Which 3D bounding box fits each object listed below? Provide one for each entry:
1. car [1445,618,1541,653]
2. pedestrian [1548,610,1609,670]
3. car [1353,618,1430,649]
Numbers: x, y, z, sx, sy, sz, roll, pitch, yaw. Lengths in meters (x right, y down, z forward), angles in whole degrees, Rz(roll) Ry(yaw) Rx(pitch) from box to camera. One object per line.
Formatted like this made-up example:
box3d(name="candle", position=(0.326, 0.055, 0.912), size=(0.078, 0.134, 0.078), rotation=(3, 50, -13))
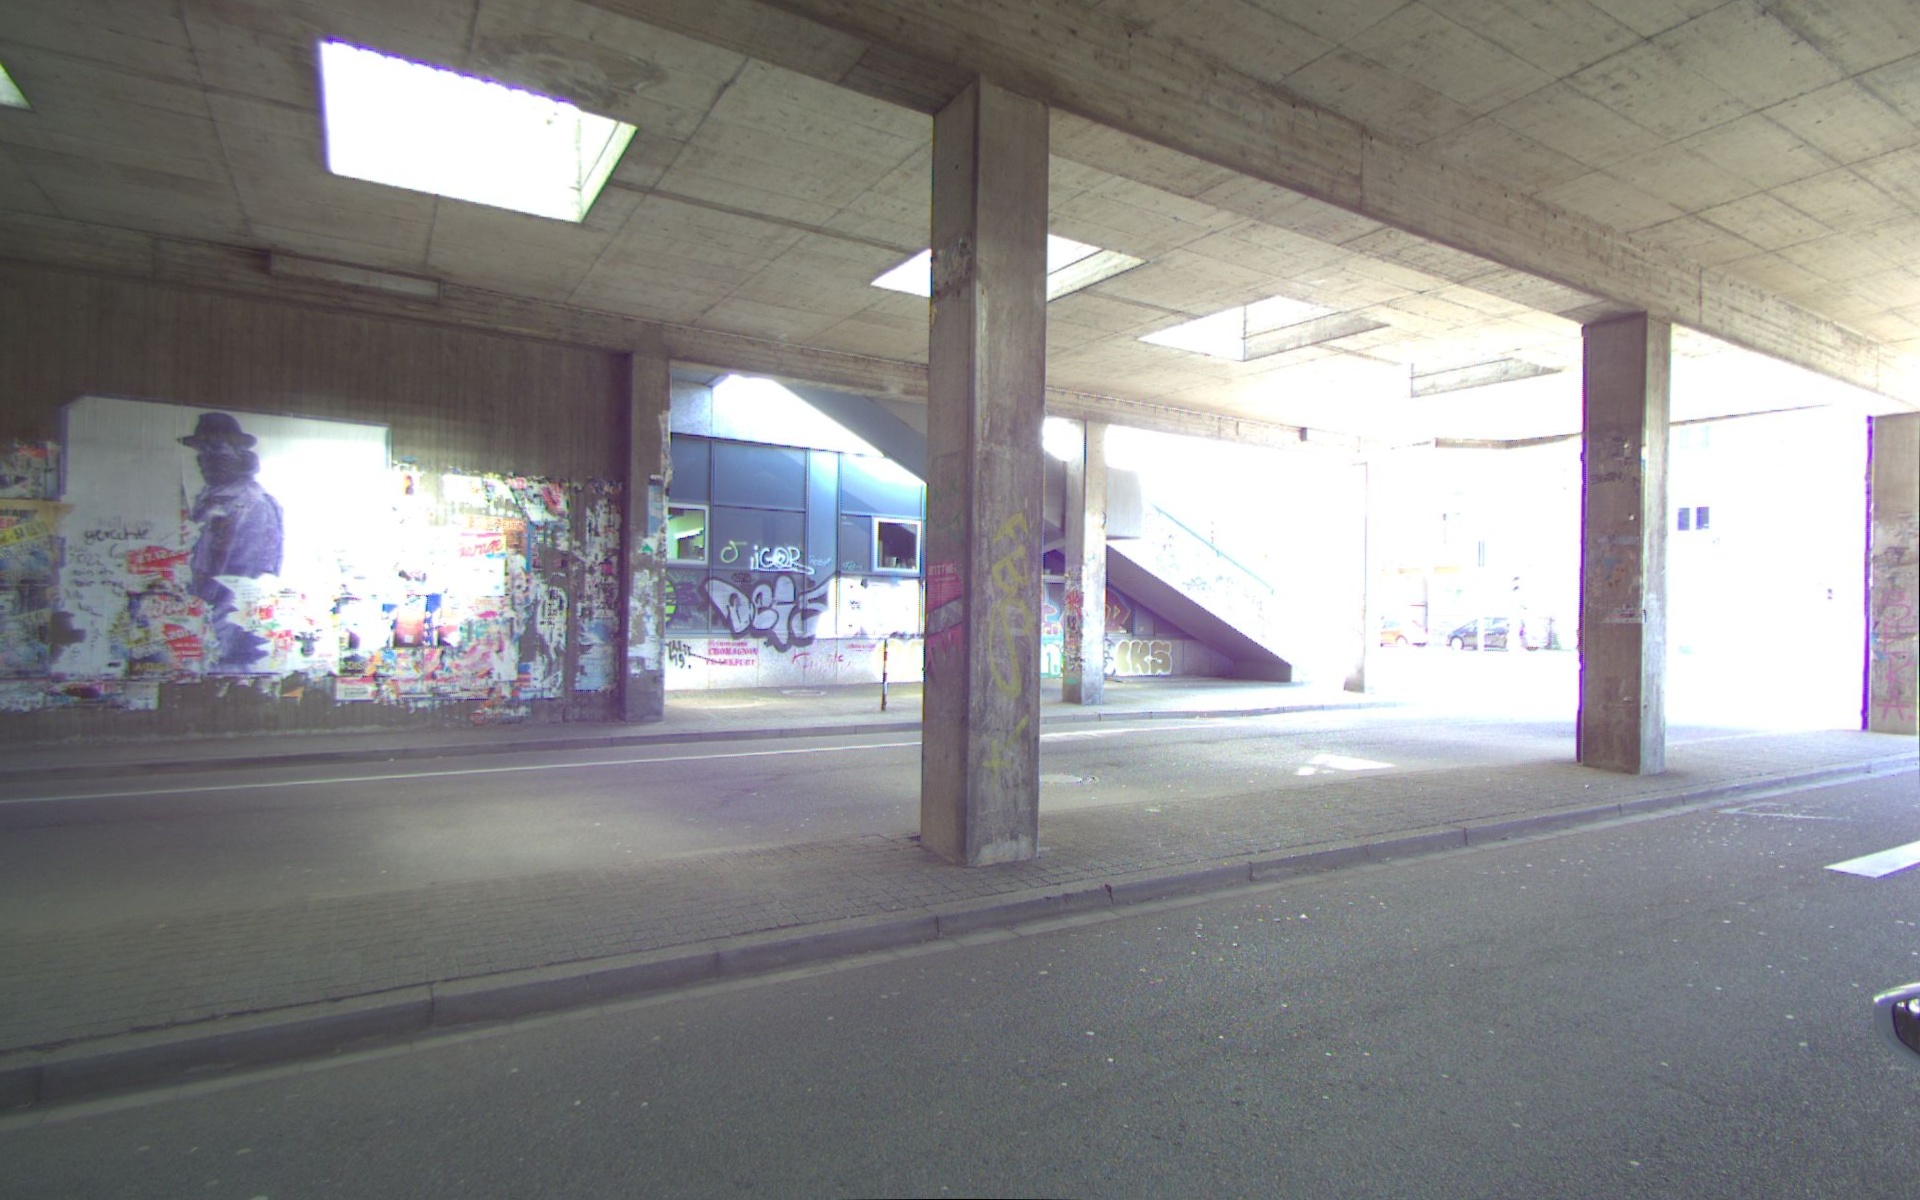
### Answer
box3d(name="car", position=(25.308, 1.665, 47.808), size=(1.732, 1.528, 3.735), rotation=(1, -1, -31))
box3d(name="pedestrian", position=(18.730, 1.197, 30.425), size=(1.123, 1.760, 1.111), rotation=(1, -1, -17))
box3d(name="car", position=(22.492, 1.714, 52.465), size=(1.543, 1.526, 3.518), rotation=(1, -1, -29))
